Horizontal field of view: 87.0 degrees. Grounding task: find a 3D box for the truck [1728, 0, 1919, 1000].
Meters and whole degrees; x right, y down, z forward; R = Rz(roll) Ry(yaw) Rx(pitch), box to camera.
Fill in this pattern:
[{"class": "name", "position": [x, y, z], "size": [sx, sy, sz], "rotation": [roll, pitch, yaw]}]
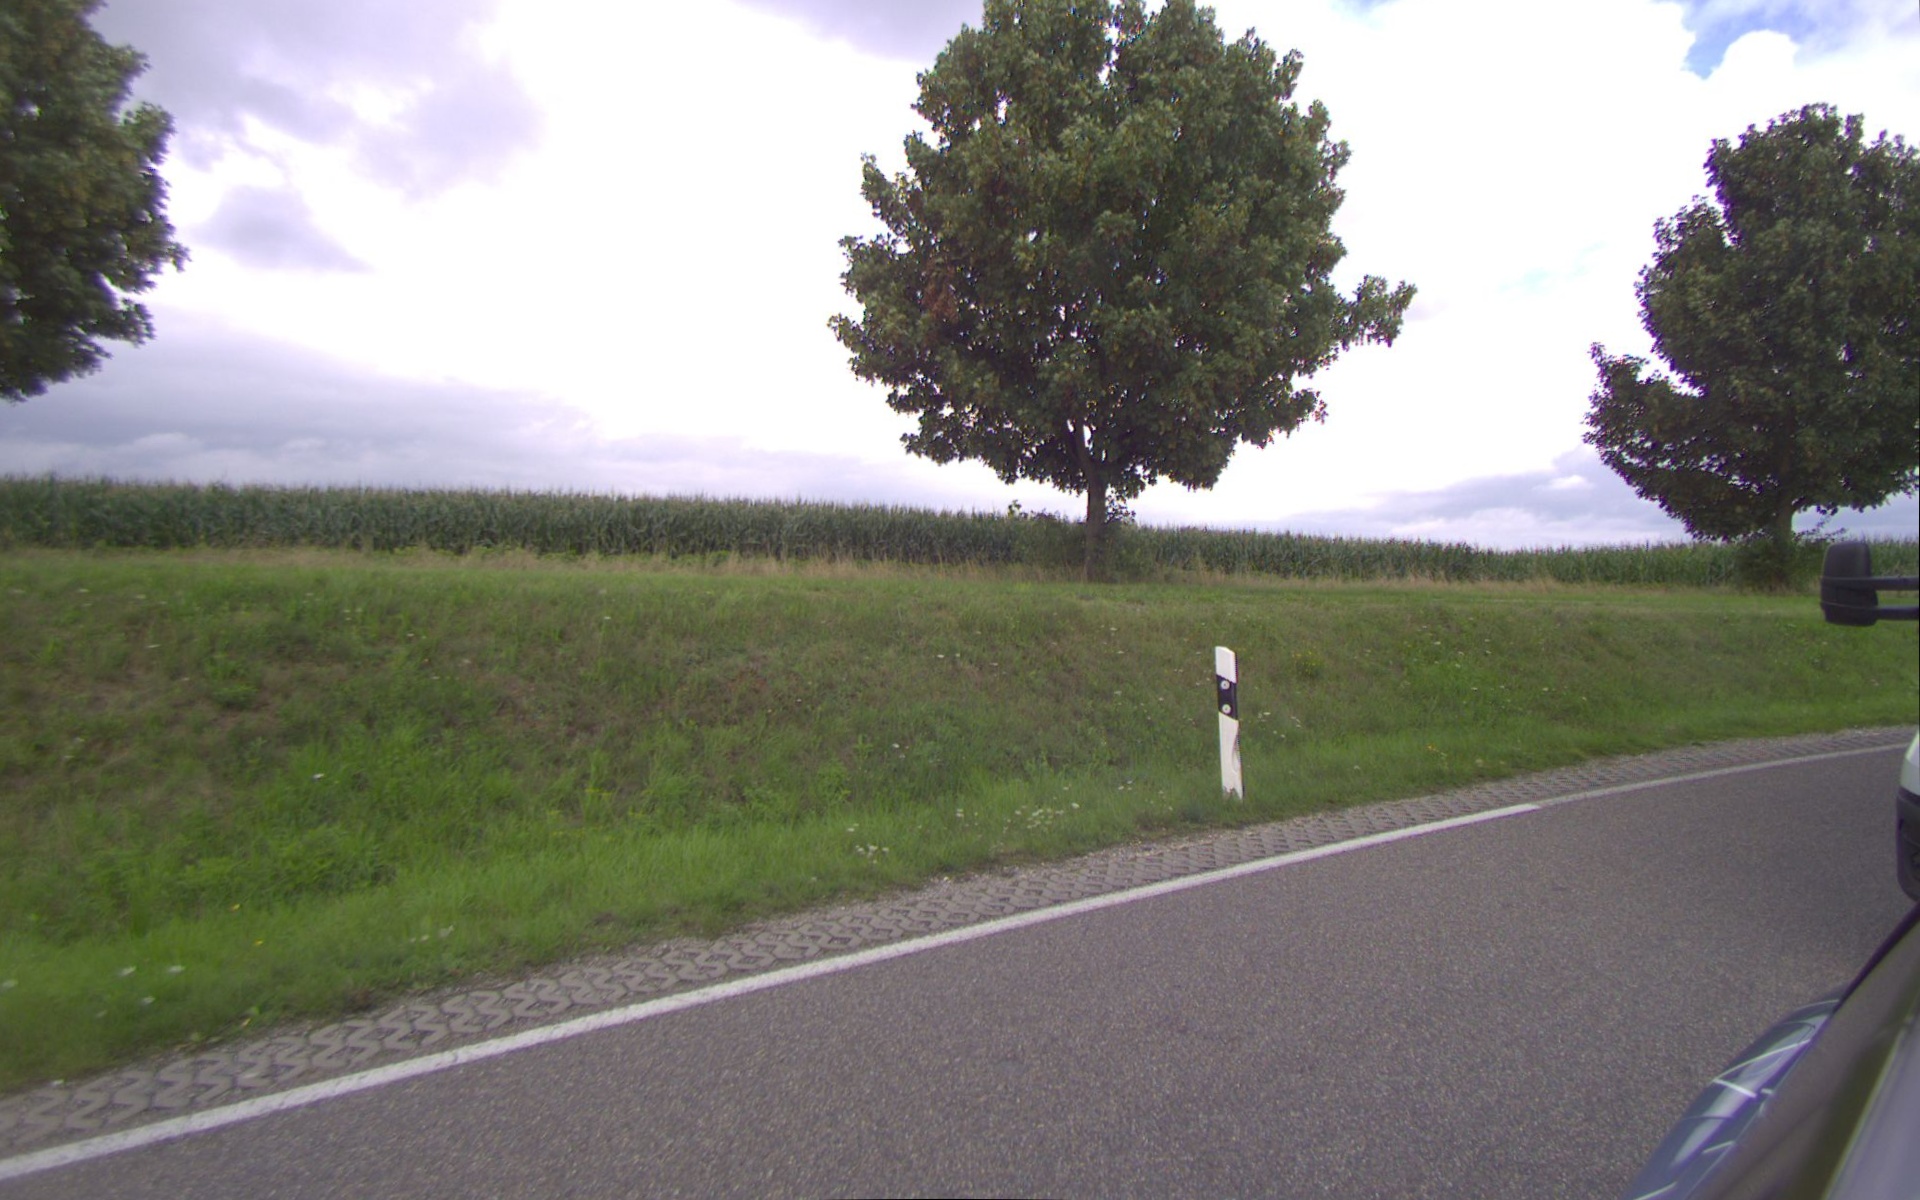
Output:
[{"class": "truck", "position": [7.395, -0.568, 4.975], "size": [8.627, 3.810, 2.842], "rotation": [-1, 2, -32]}]
